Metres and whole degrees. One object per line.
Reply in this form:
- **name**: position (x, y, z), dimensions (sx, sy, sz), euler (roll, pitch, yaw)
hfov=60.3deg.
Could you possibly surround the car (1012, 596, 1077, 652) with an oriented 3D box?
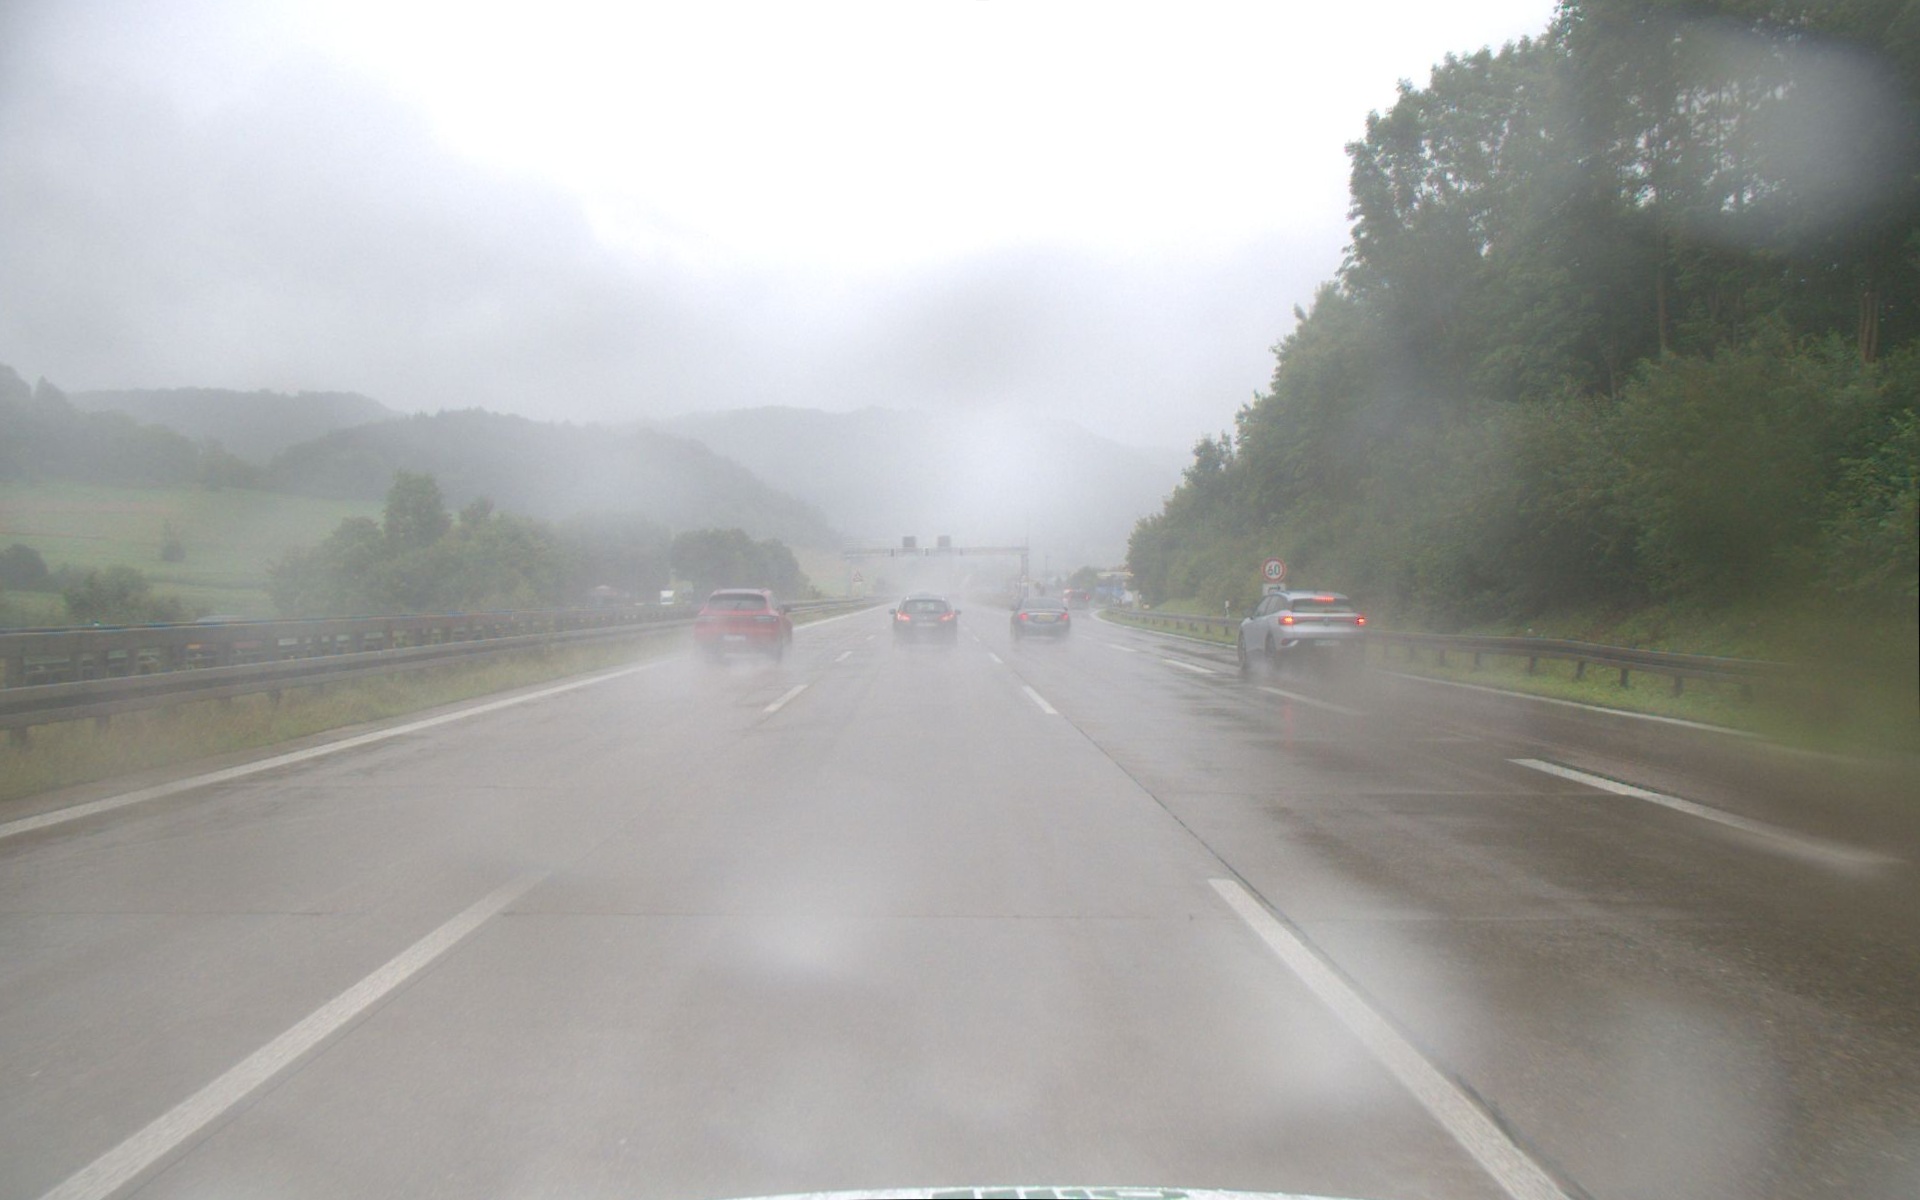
- **car**: position (2.798, 0.773, 55.631), dimensions (1.931, 1.791, 3.999), euler (0, 0, -1)

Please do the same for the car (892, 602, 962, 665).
- **car**: position (-0.889, 0.879, 45.393), dimensions (1.822, 1.617, 3.999), euler (1, 0, -1)

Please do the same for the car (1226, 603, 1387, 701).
- **car**: position (6.860, 0.969, 33.387), dimensions (1.953, 1.781, 5.661), euler (1, 0, -1)

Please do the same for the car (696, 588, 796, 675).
- **car**: position (-4.767, 0.665, 37.287), dimensions (1.846, 1.847, 3.999), euler (0, 0, -2)

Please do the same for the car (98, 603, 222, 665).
- **car**: position (-24.896, 1.020, 51.641), dimensions (1.953, 1.813, 3.999), euler (1, 0, -1)
